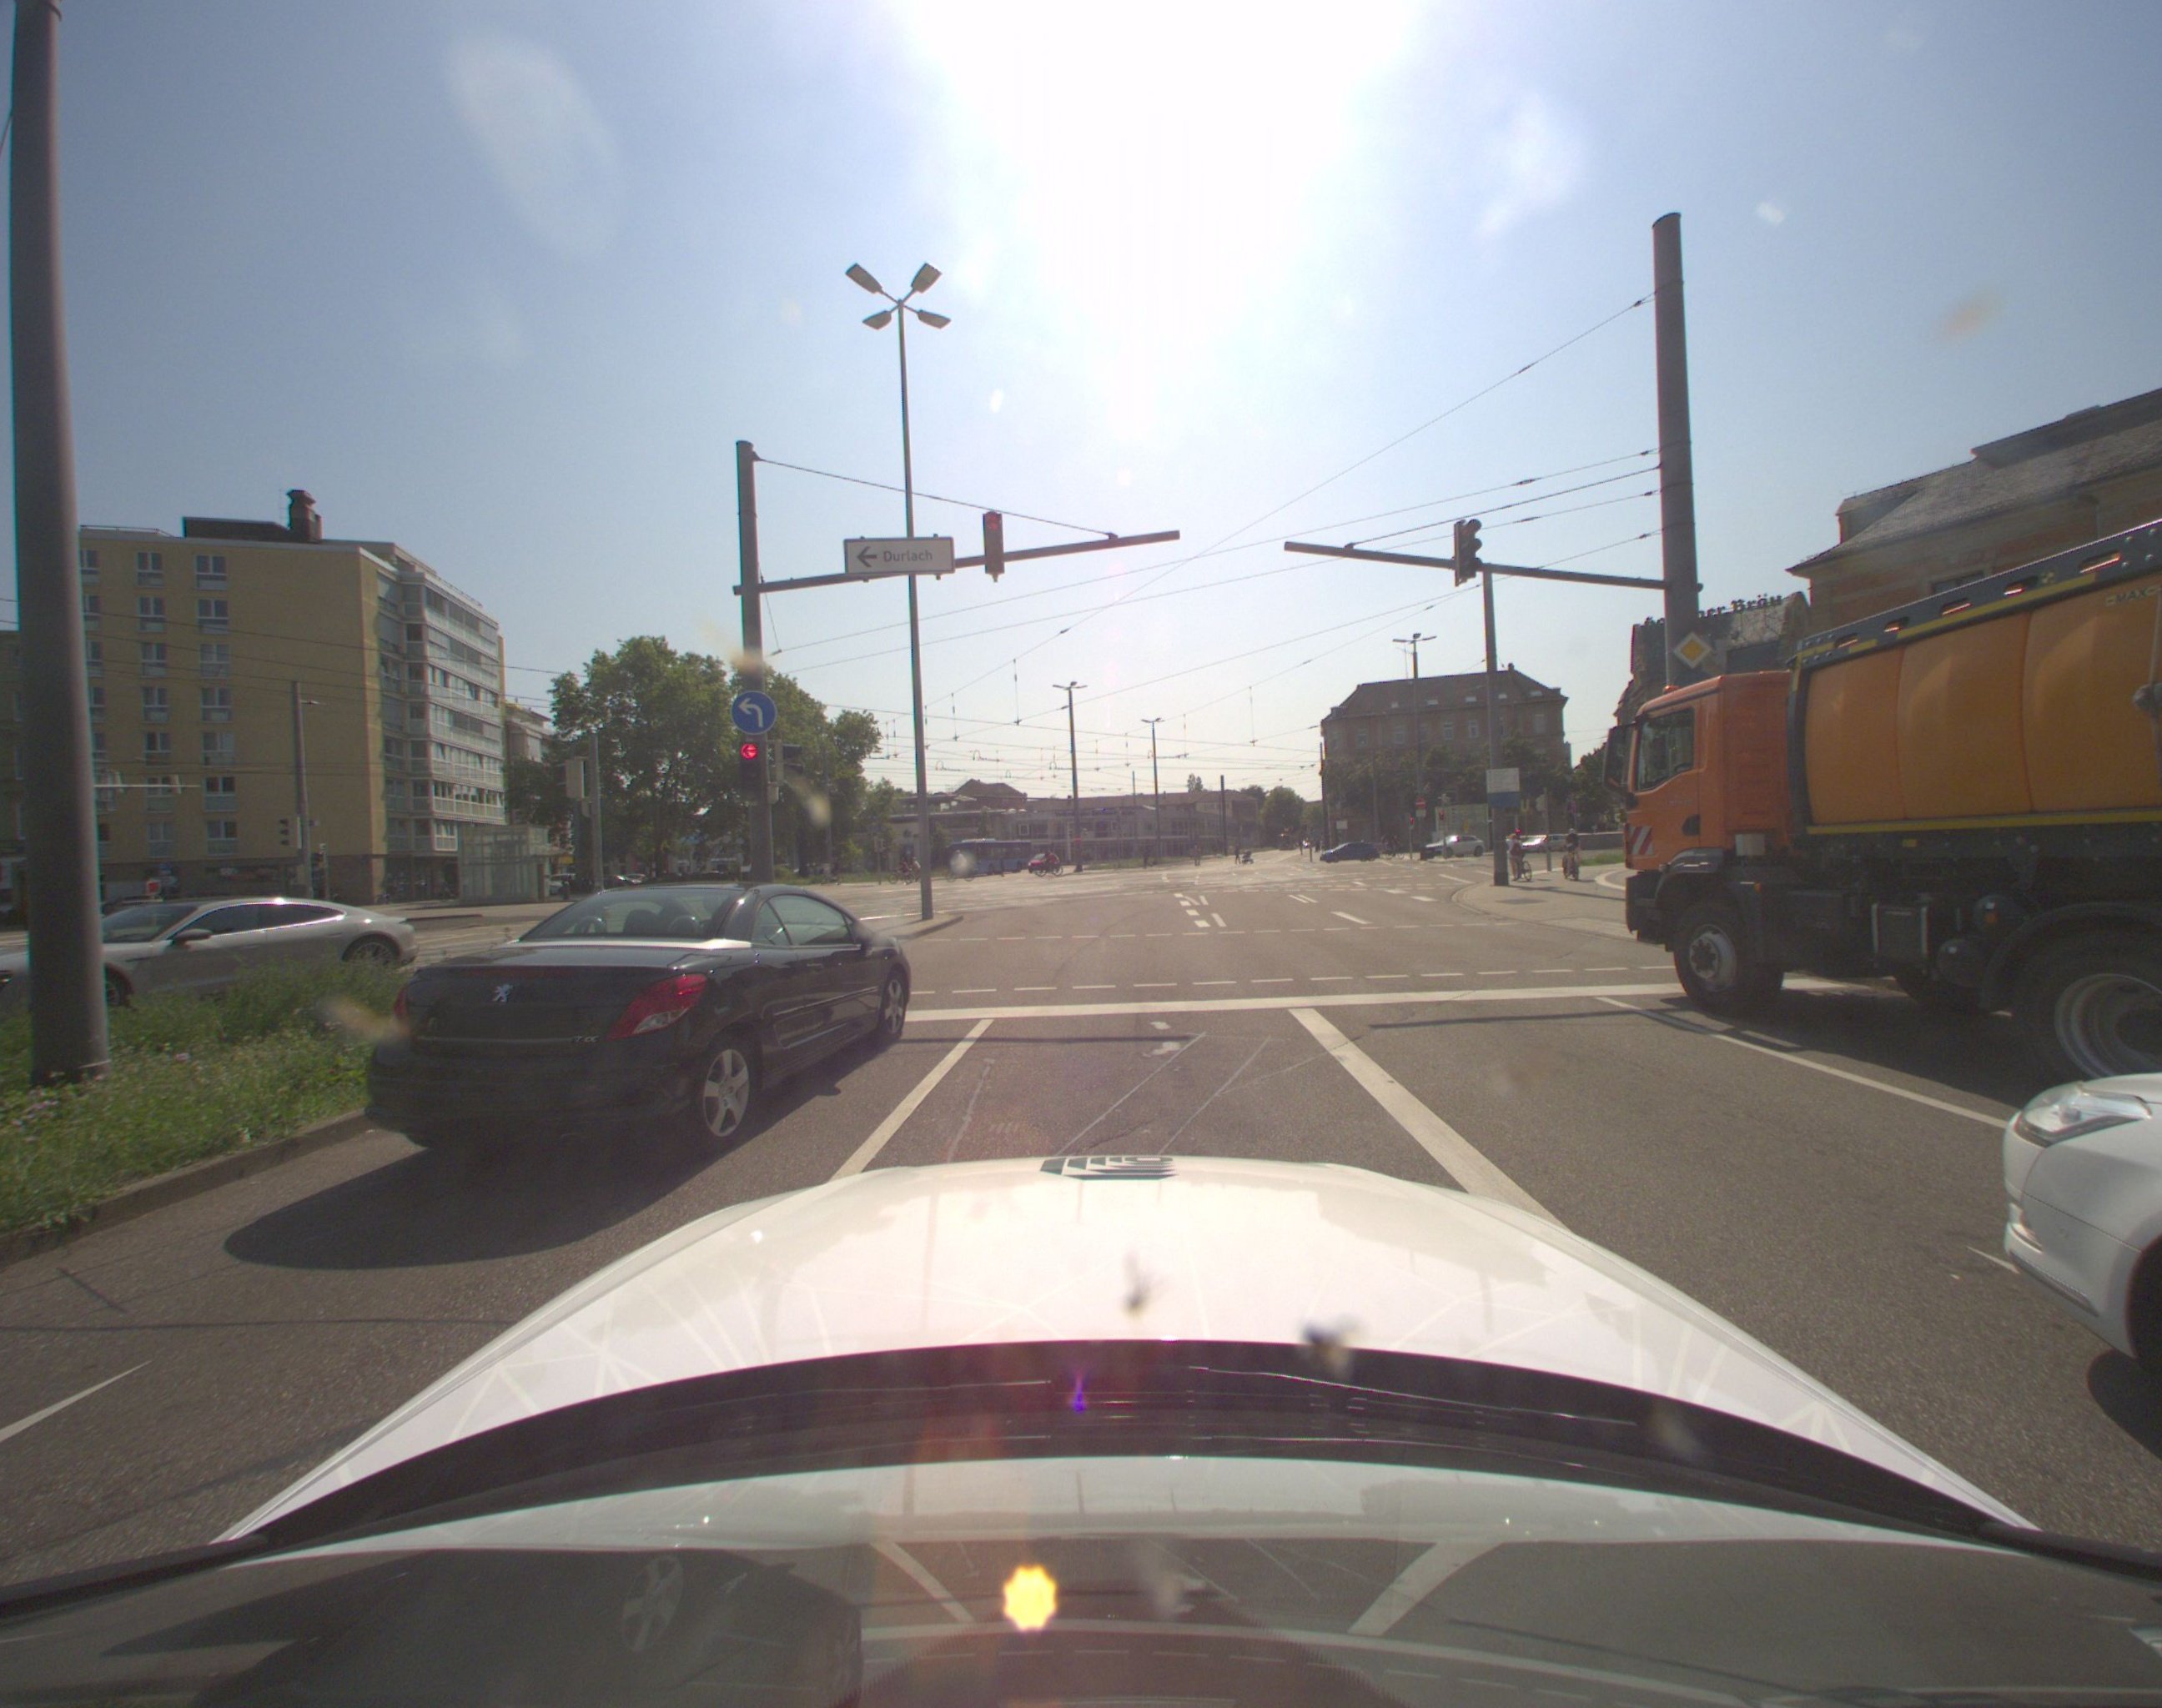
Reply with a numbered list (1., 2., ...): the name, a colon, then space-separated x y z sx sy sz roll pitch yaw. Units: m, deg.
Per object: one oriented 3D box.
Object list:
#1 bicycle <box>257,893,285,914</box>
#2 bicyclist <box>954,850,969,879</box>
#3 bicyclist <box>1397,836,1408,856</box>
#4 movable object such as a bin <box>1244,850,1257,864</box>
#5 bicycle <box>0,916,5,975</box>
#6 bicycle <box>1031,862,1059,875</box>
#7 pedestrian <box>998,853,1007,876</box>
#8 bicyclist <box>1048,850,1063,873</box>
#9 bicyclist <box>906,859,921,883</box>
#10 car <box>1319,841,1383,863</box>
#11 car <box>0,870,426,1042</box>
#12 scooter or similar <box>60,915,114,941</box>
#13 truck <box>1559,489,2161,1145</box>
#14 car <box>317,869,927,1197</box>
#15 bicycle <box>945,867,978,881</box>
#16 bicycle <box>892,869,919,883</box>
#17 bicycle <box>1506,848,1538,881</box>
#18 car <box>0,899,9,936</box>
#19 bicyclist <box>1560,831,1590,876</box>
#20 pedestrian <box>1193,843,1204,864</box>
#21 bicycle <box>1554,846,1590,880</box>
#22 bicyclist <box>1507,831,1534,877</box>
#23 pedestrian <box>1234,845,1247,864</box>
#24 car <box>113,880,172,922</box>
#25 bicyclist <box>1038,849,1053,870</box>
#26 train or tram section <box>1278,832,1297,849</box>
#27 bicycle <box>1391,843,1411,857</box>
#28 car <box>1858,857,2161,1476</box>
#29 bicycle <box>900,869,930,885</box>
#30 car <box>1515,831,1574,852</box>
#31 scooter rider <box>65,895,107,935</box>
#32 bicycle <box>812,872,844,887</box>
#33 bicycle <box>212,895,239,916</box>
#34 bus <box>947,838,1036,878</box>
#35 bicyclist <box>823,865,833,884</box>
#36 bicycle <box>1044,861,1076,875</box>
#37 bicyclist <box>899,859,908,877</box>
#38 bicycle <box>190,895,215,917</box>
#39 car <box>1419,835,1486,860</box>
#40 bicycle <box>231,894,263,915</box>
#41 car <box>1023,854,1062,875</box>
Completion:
1. bicycle: -48.860 2.975 49.127 3.220 1.204 0.699 -2 0 36
2. bicyclist: -7.662 0.667 52.183 0.923 1.807 0.496 -2 0 -10
3. bicyclist: 25.116 -0.653 63.621 0.614 1.528 0.517 -2 0 -22
4. movable object such as a bin: 13.914 0.252 66.876 0.812 1.077 0.510 -2 0 -8
5. bicycle: -20.961 1.730 14.806 1.927 1.093 0.503 -2 0 -4
6. bicycle: -2.500 1.037 57.145 1.860 0.802 0.604 -2 0 -16
7. pedestrian: -5.887 0.762 60.977 0.554 1.684 0.452 -2 0 -16
8. bicyclist: -1.684 0.481 53.558 0.871 1.483 0.496 -2 0 -10
9. bicyclist: -10.888 1.121 52.934 0.909 1.508 0.557 -2 0 -8
10. car: 19.237 -0.154 58.144 3.976 1.394 1.595 -2 0 -2
11. car: -11.476 1.107 10.325 1.981 1.585 4.729 -2 0 10
12. scooter or similar: -35.299 2.619 28.942 0.519 0.824 1.143 -2 0 -3
13. truck: 6.578 -0.209 5.971 2.480 3.134 6.870 -2 0 4
14. car: -2.506 0.854 5.636 1.756 1.388 3.788 -1 0 6
15. bicycle: -7.670 1.280 52.197 2.049 0.802 0.478 -2 0 -10
16. bicycle: -12.665 1.600 58.711 1.814 0.942 0.414 -2 0 -10
17. bicycle: 14.901 0.327 27.527 0.532 1.055 1.660 -2 0 15
18. car: -54.490 3.175 40.015 3.949 1.819 1.815 -3 0 42
19. bicyclist: 15.808 -0.026 26.074 0.526 1.393 0.897 -2 0 15
20. pedestrian: 9.556 -0.036 66.206 0.698 1.603 0.572 -2 0 -5
21. bicycle: 15.932 0.275 26.452 0.532 1.055 1.660 -2 0 15
22. bicyclist: 14.997 0.007 27.809 0.623 1.517 0.715 -2 0 15
23. pedestrian: 13.060 0.066 66.766 0.849 1.545 0.528 -2 0 -6
24. car: -47.742 2.351 41.497 3.949 1.925 1.815 -3 0 42
25. bicyclist: -2.483 0.377 57.146 0.872 1.475 0.543 -2 0 -15
26. train or tram section: 45.570 -2.892 179.503 2.566 3.516 10.956 -2 0 21
27. bicycle: 25.060 -0.292 63.797 0.470 1.055 1.643 -2 0 -18
28. car: 3.317 0.734 0.341 1.761 1.428 4.614 -2 0 4
29. bicycle: -10.802 1.516 52.940 1.813 0.942 0.566 -2 0 -8
30. car: 35.681 -0.935 62.734 4.193 1.415 1.762 -2 0 -23
31. scooter rider: -35.423 2.164 28.992 0.685 1.353 0.608 -2 0 -3
32. bicycle: -17.810 1.816 57.341 2.032 0.942 0.466 -2 0 -10
33. bicycle: -51.155 3.056 48.665 3.220 1.204 0.699 -2 0 36
34. bus: -7.540 0.250 71.140 2.541 3.082 12.083 -3 0 19
35. bicyclist: -17.771 1.461 57.309 0.544 1.293 0.557 -2 0 -9
36. bicycle: -1.395 0.932 53.631 2.049 0.802 0.478 -2 0 -10
37. bicyclist: -12.767 1.002 58.618 0.544 1.293 0.557 -2 0 -9
38. bicycle: -52.211 3.078 48.403 2.754 1.204 0.699 -3 0 36
39. car: 27.182 -0.444 59.661 4.330 1.618 1.745 -2 0 -16
40. bicycle: -50.174 3.040 48.974 3.220 1.204 0.916 -2 0 36
41. car: -3.137 0.854 67.797 1.735 1.552 4.021 -2 0 21
